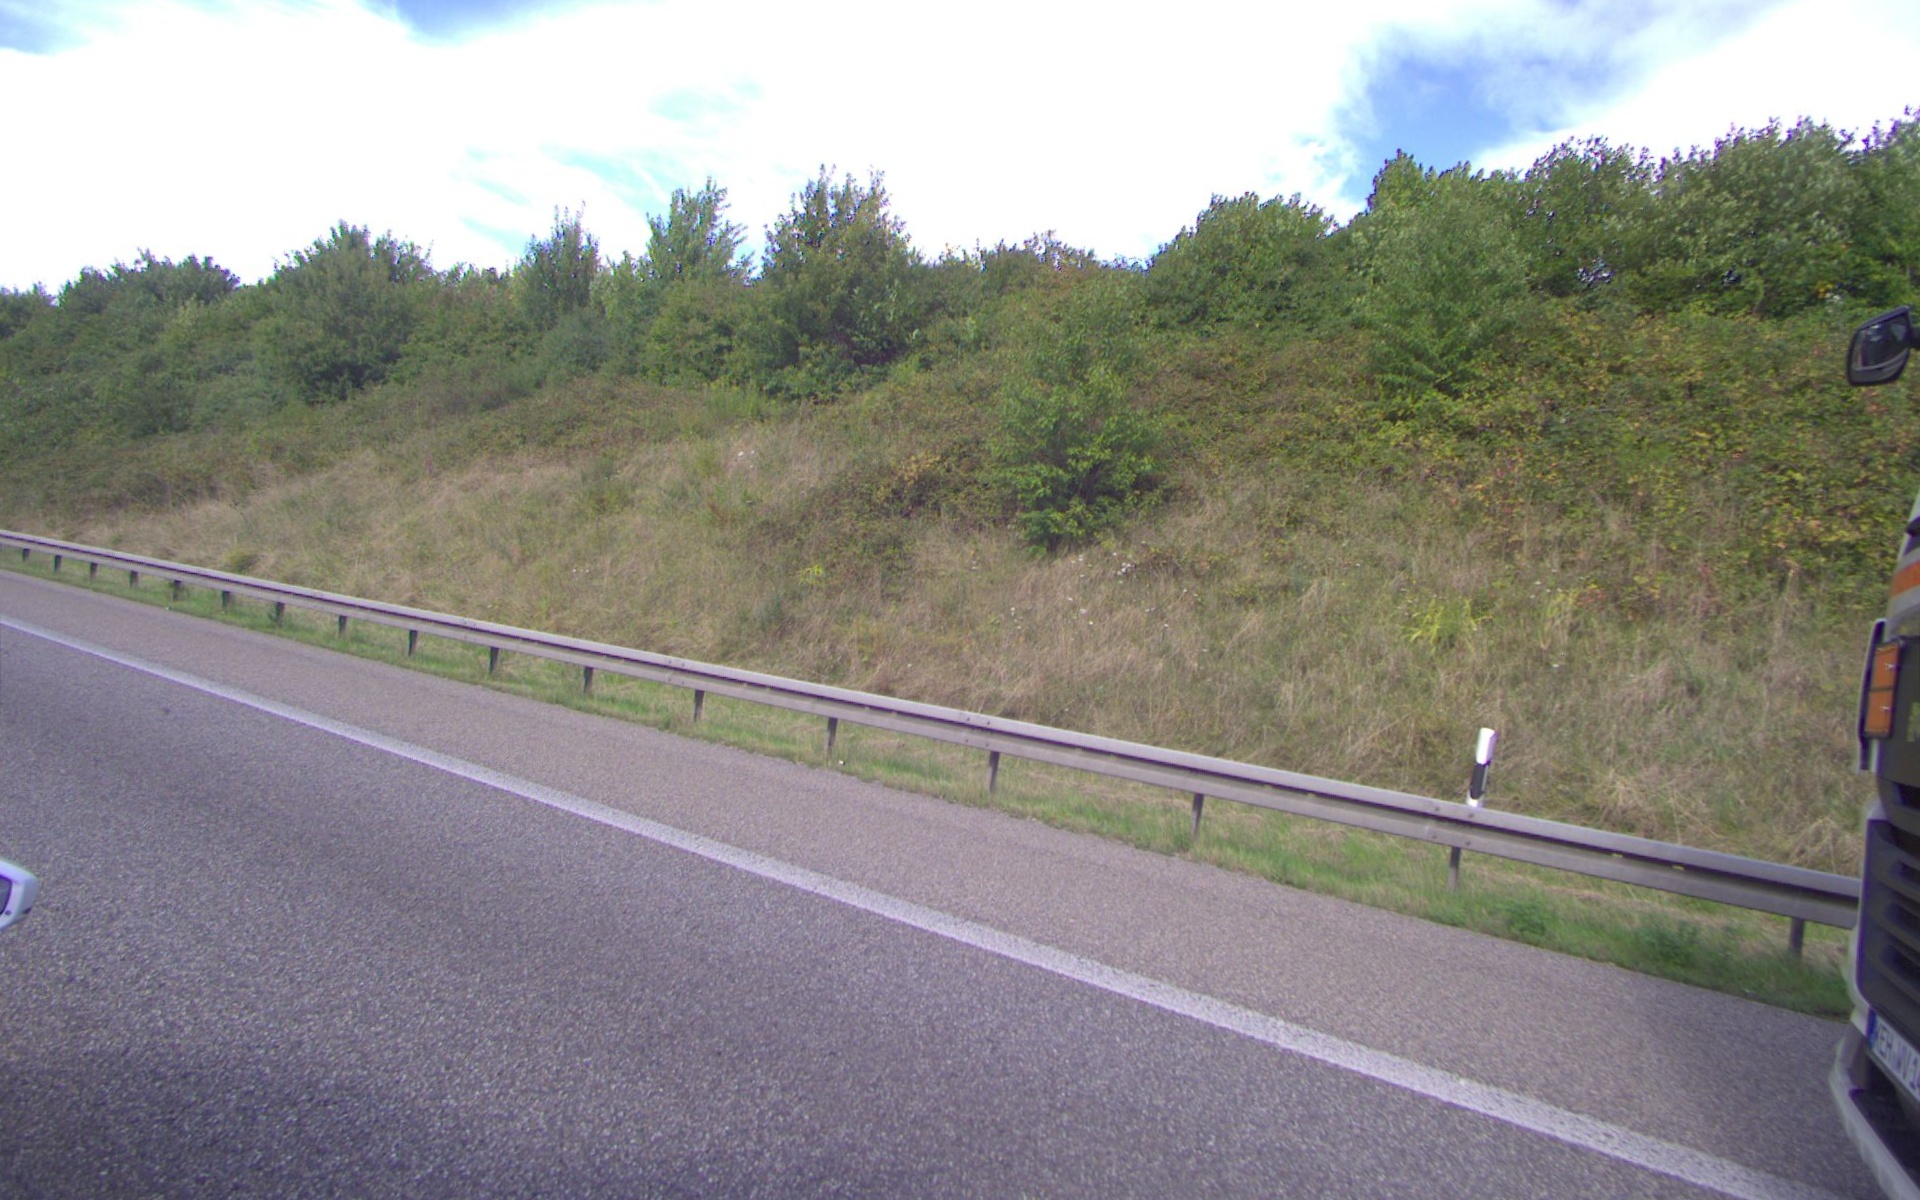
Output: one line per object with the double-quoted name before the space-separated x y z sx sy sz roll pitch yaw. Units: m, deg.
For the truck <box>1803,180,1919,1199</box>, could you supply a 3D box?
"truck" 4.975 0.066 0.867 5.807 4.091 2.806 7 -1 33
